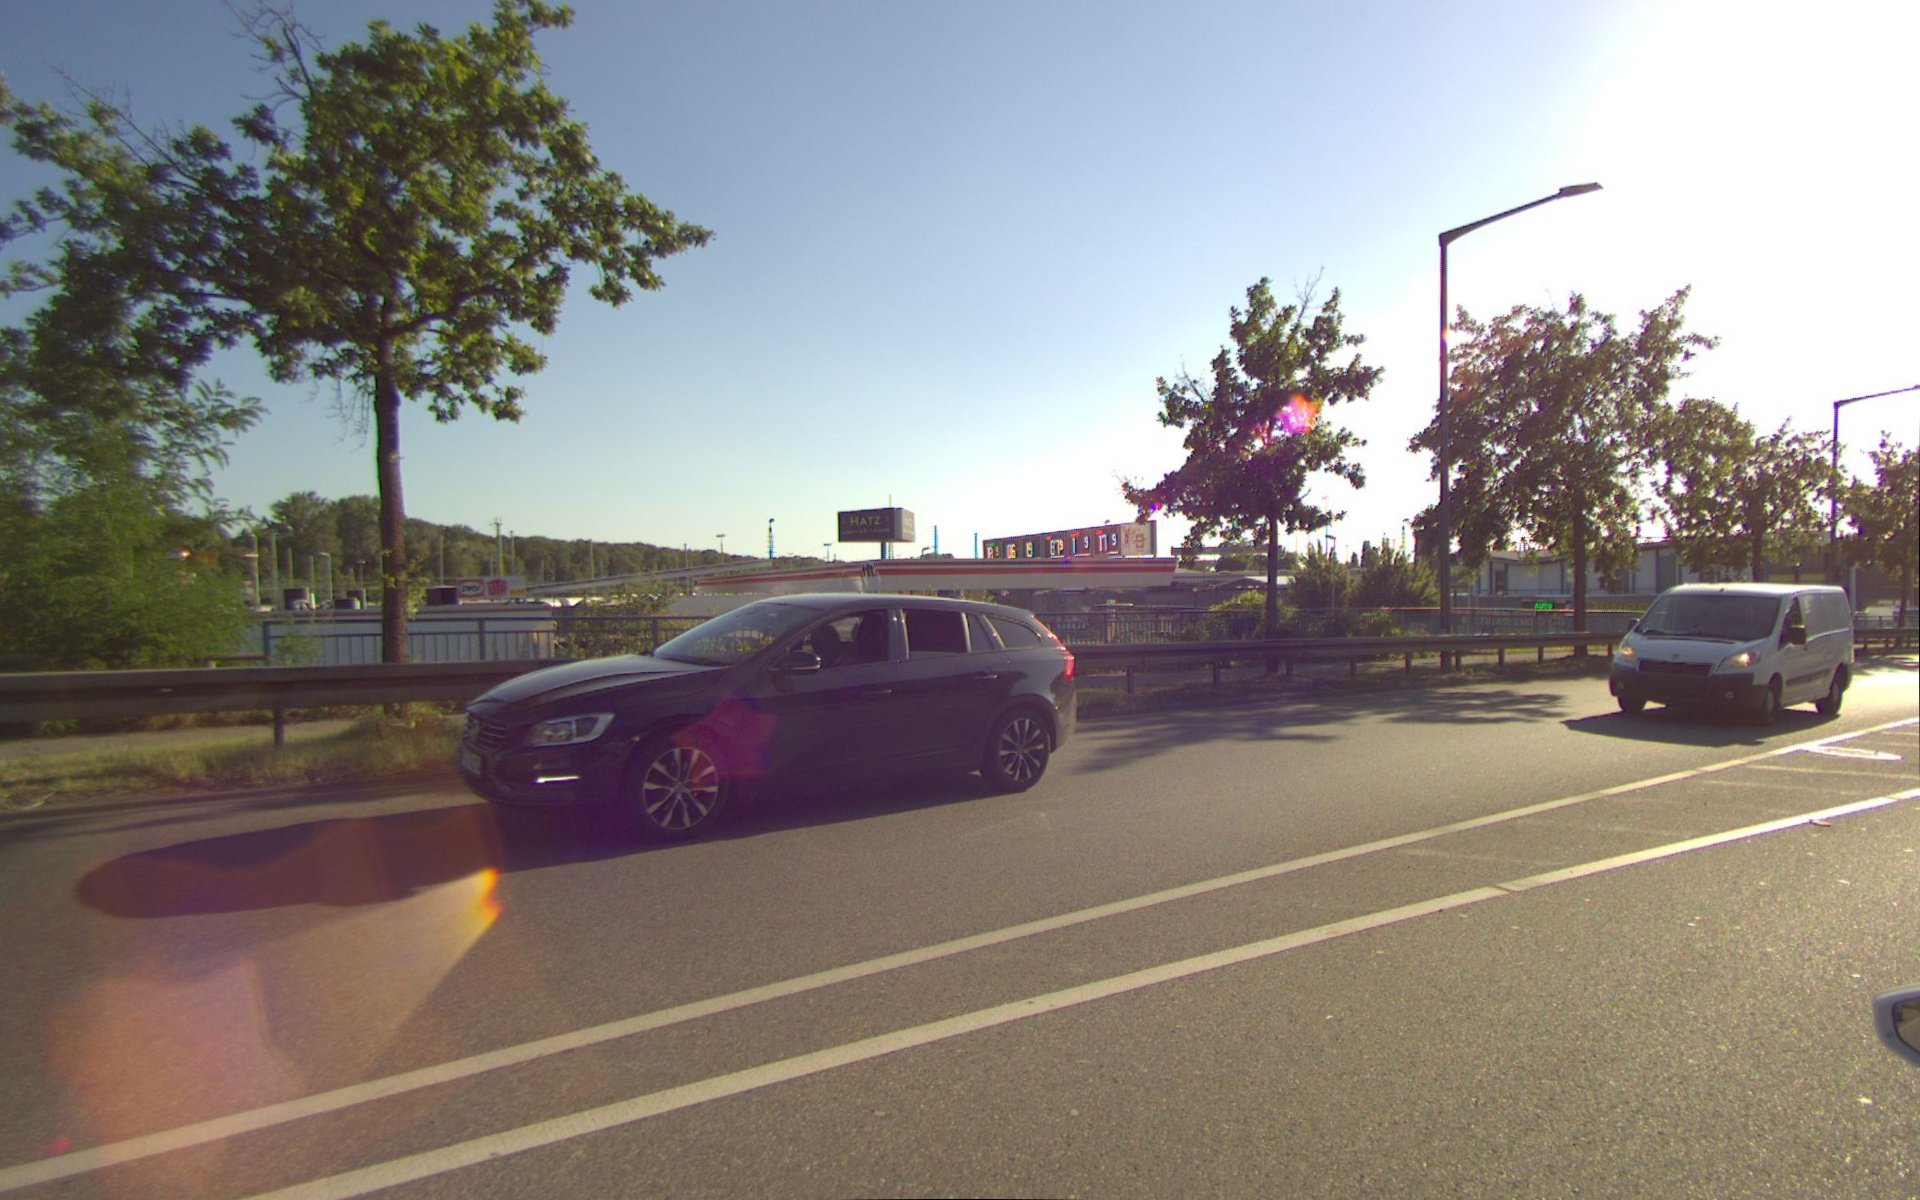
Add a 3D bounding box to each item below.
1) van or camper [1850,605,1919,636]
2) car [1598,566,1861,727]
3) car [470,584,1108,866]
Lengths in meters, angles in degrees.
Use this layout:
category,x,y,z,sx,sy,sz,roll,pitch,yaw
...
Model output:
category,x,y,z,sx,sy,sz,roll,pitch,yaw
van or camper,61.261,1.304,66.242,1.959,1.951,4.232,1,0,11
car,11.761,0.631,15.202,5.213,2.040,1.863,2,1,-38
car,-1.022,0.682,7.389,4.348,1.485,1.757,1,0,-41
